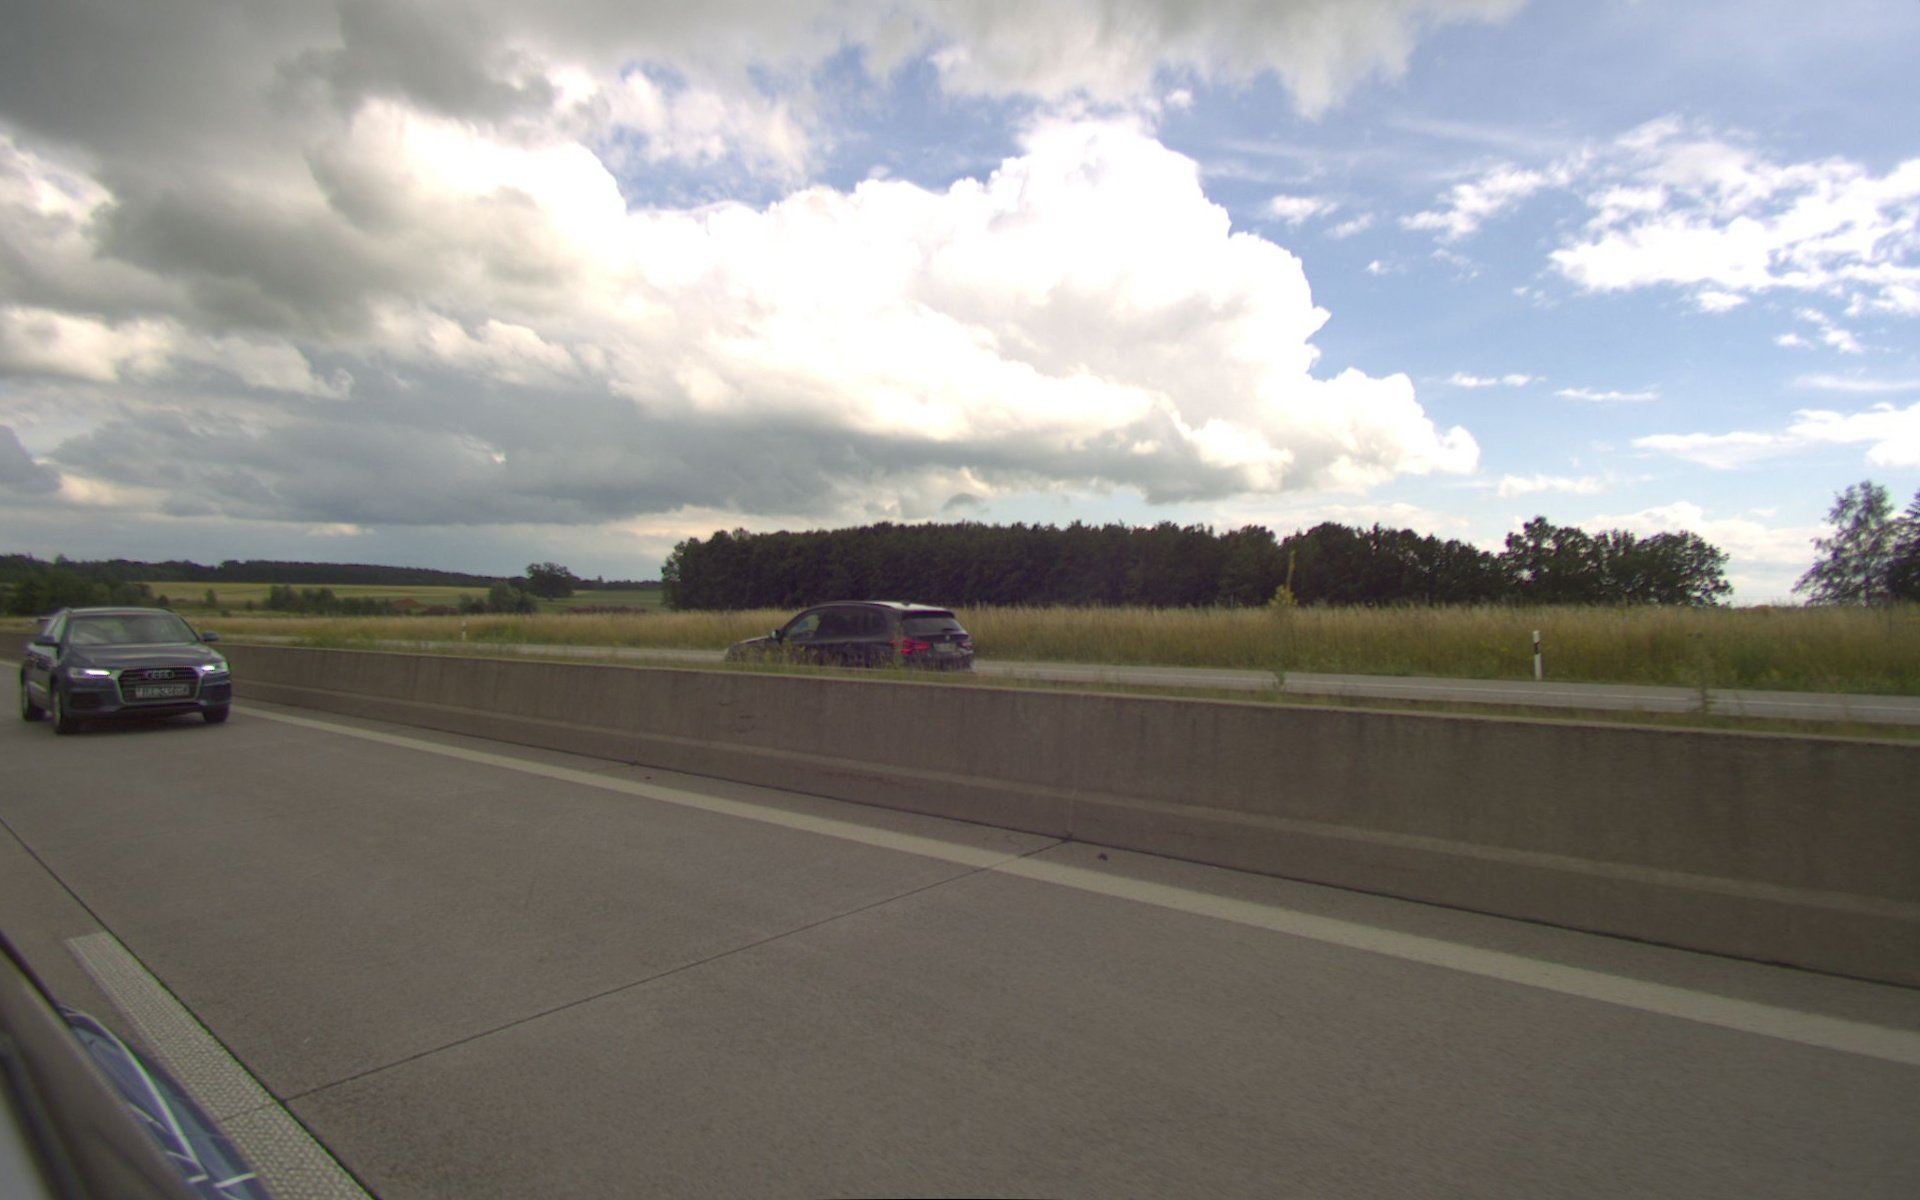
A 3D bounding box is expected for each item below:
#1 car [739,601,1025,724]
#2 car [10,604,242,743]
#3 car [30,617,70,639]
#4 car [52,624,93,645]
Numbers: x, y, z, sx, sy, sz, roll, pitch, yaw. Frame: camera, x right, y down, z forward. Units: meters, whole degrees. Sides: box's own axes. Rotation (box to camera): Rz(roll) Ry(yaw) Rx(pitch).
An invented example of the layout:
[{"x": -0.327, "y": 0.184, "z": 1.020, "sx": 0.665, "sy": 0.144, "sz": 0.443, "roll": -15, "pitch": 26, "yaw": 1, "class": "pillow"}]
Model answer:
[{"x": -1.321, "y": 0.880, "z": 15.875, "sx": 4.395, "sy": 1.652, "sz": 1.973, "roll": -1, "pitch": -1, "yaw": 41, "class": "car"}, {"x": -11.868, "y": 0.899, "z": 14.246, "sx": 5.155, "sy": 1.608, "sz": 1.774, "roll": -1, "pitch": 0, "yaw": 42, "class": "car"}, {"x": -74.740, "y": 2.302, "z": 83.093, "sx": 4.060, "sy": 1.697, "sz": 1.973, "roll": -1, "pitch": -1, "yaw": 40, "class": "car"}, {"x": -63.066, "y": 2.435, "z": 71.899, "sx": 3.997, "sy": 1.409, "sz": 1.645, "roll": -1, "pitch": -1, "yaw": 41, "class": "car"}]
